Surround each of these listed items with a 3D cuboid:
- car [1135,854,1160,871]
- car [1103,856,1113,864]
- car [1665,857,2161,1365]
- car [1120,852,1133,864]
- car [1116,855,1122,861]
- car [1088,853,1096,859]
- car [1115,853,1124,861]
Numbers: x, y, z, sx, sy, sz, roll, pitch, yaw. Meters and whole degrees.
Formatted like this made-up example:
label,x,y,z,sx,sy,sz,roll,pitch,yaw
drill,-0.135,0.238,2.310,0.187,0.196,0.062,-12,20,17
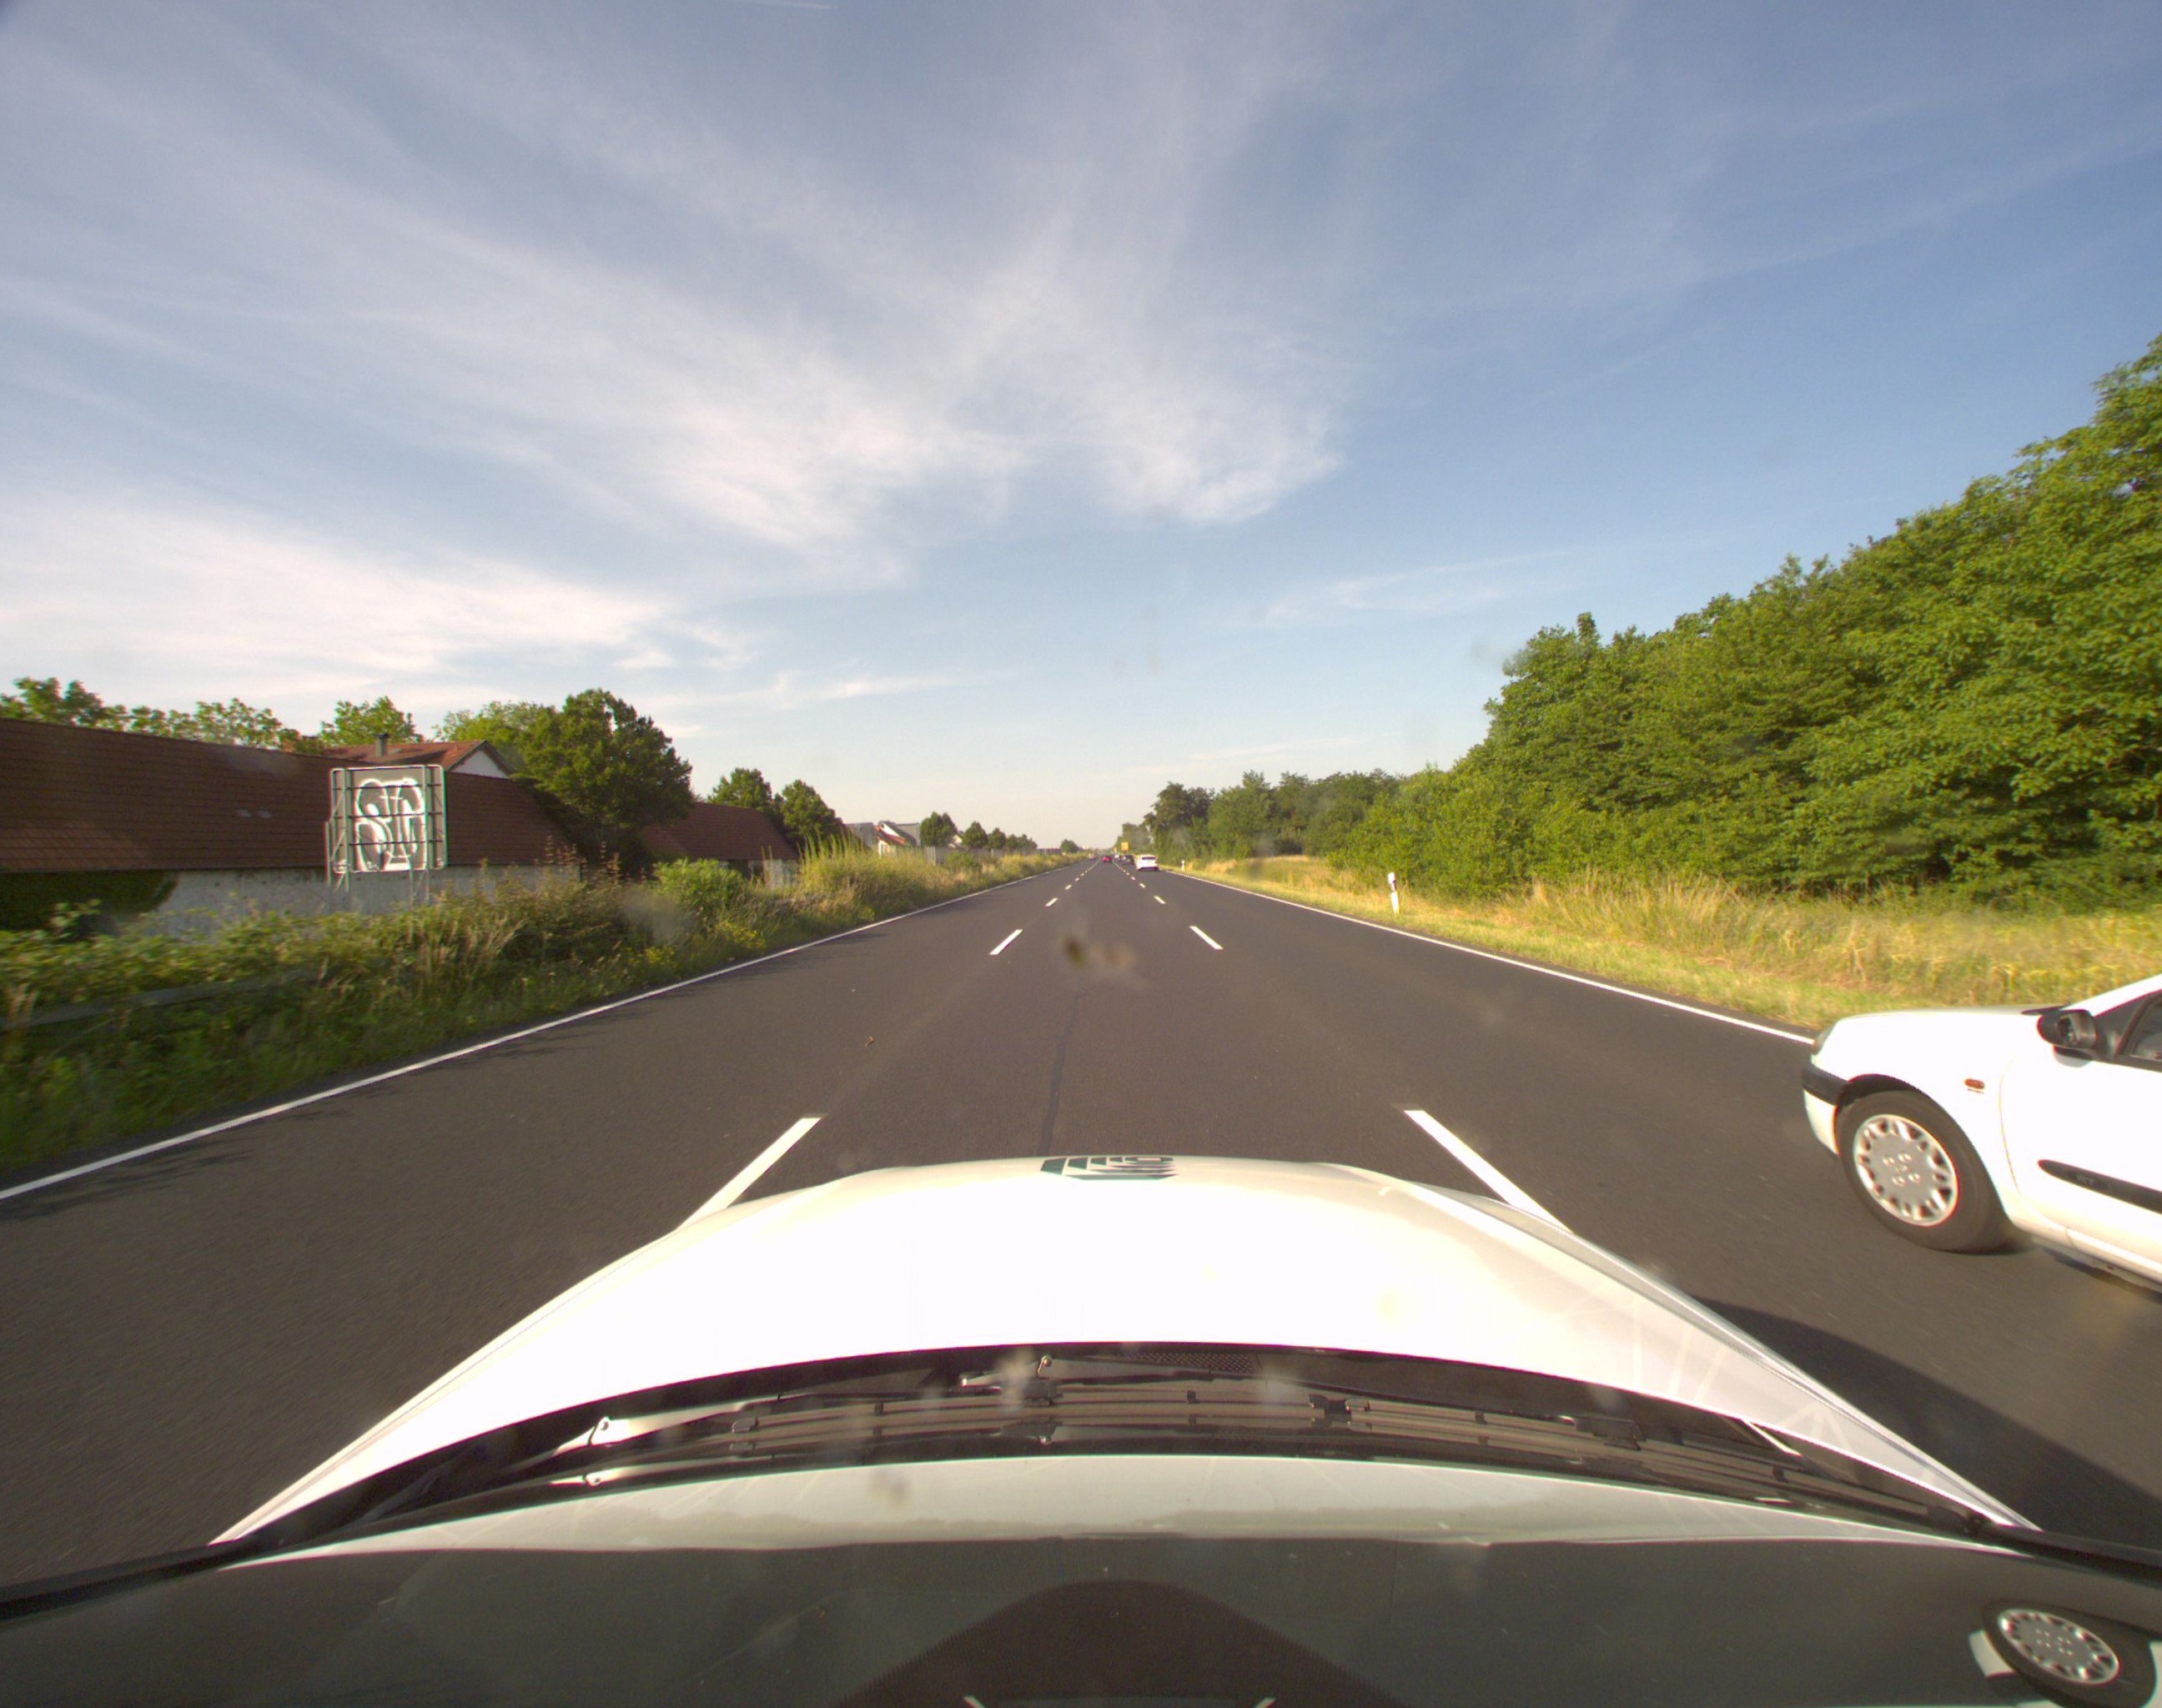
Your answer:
label,x,y,z,sx,sy,sz,roll,pitch,yaw
car,5.936,0.760,72.967,1.986,1.516,4.001,-1,-1,1
car,5.167,1.144,157.570,1.806,1.436,3.858,-1,-1,1
car,3.810,0.714,2.237,1.611,1.387,3.952,-1,-1,1
car,7.164,0.658,128.133,1.821,1.728,4.001,-1,-1,1
car,11.227,1.308,239.757,1.840,1.750,4.002,-1,-1,2
car,3.011,0.516,222.763,1.751,1.618,4.003,-1,-1,3
car,8.084,0.647,170.694,1.827,1.717,3.864,-1,-1,2
